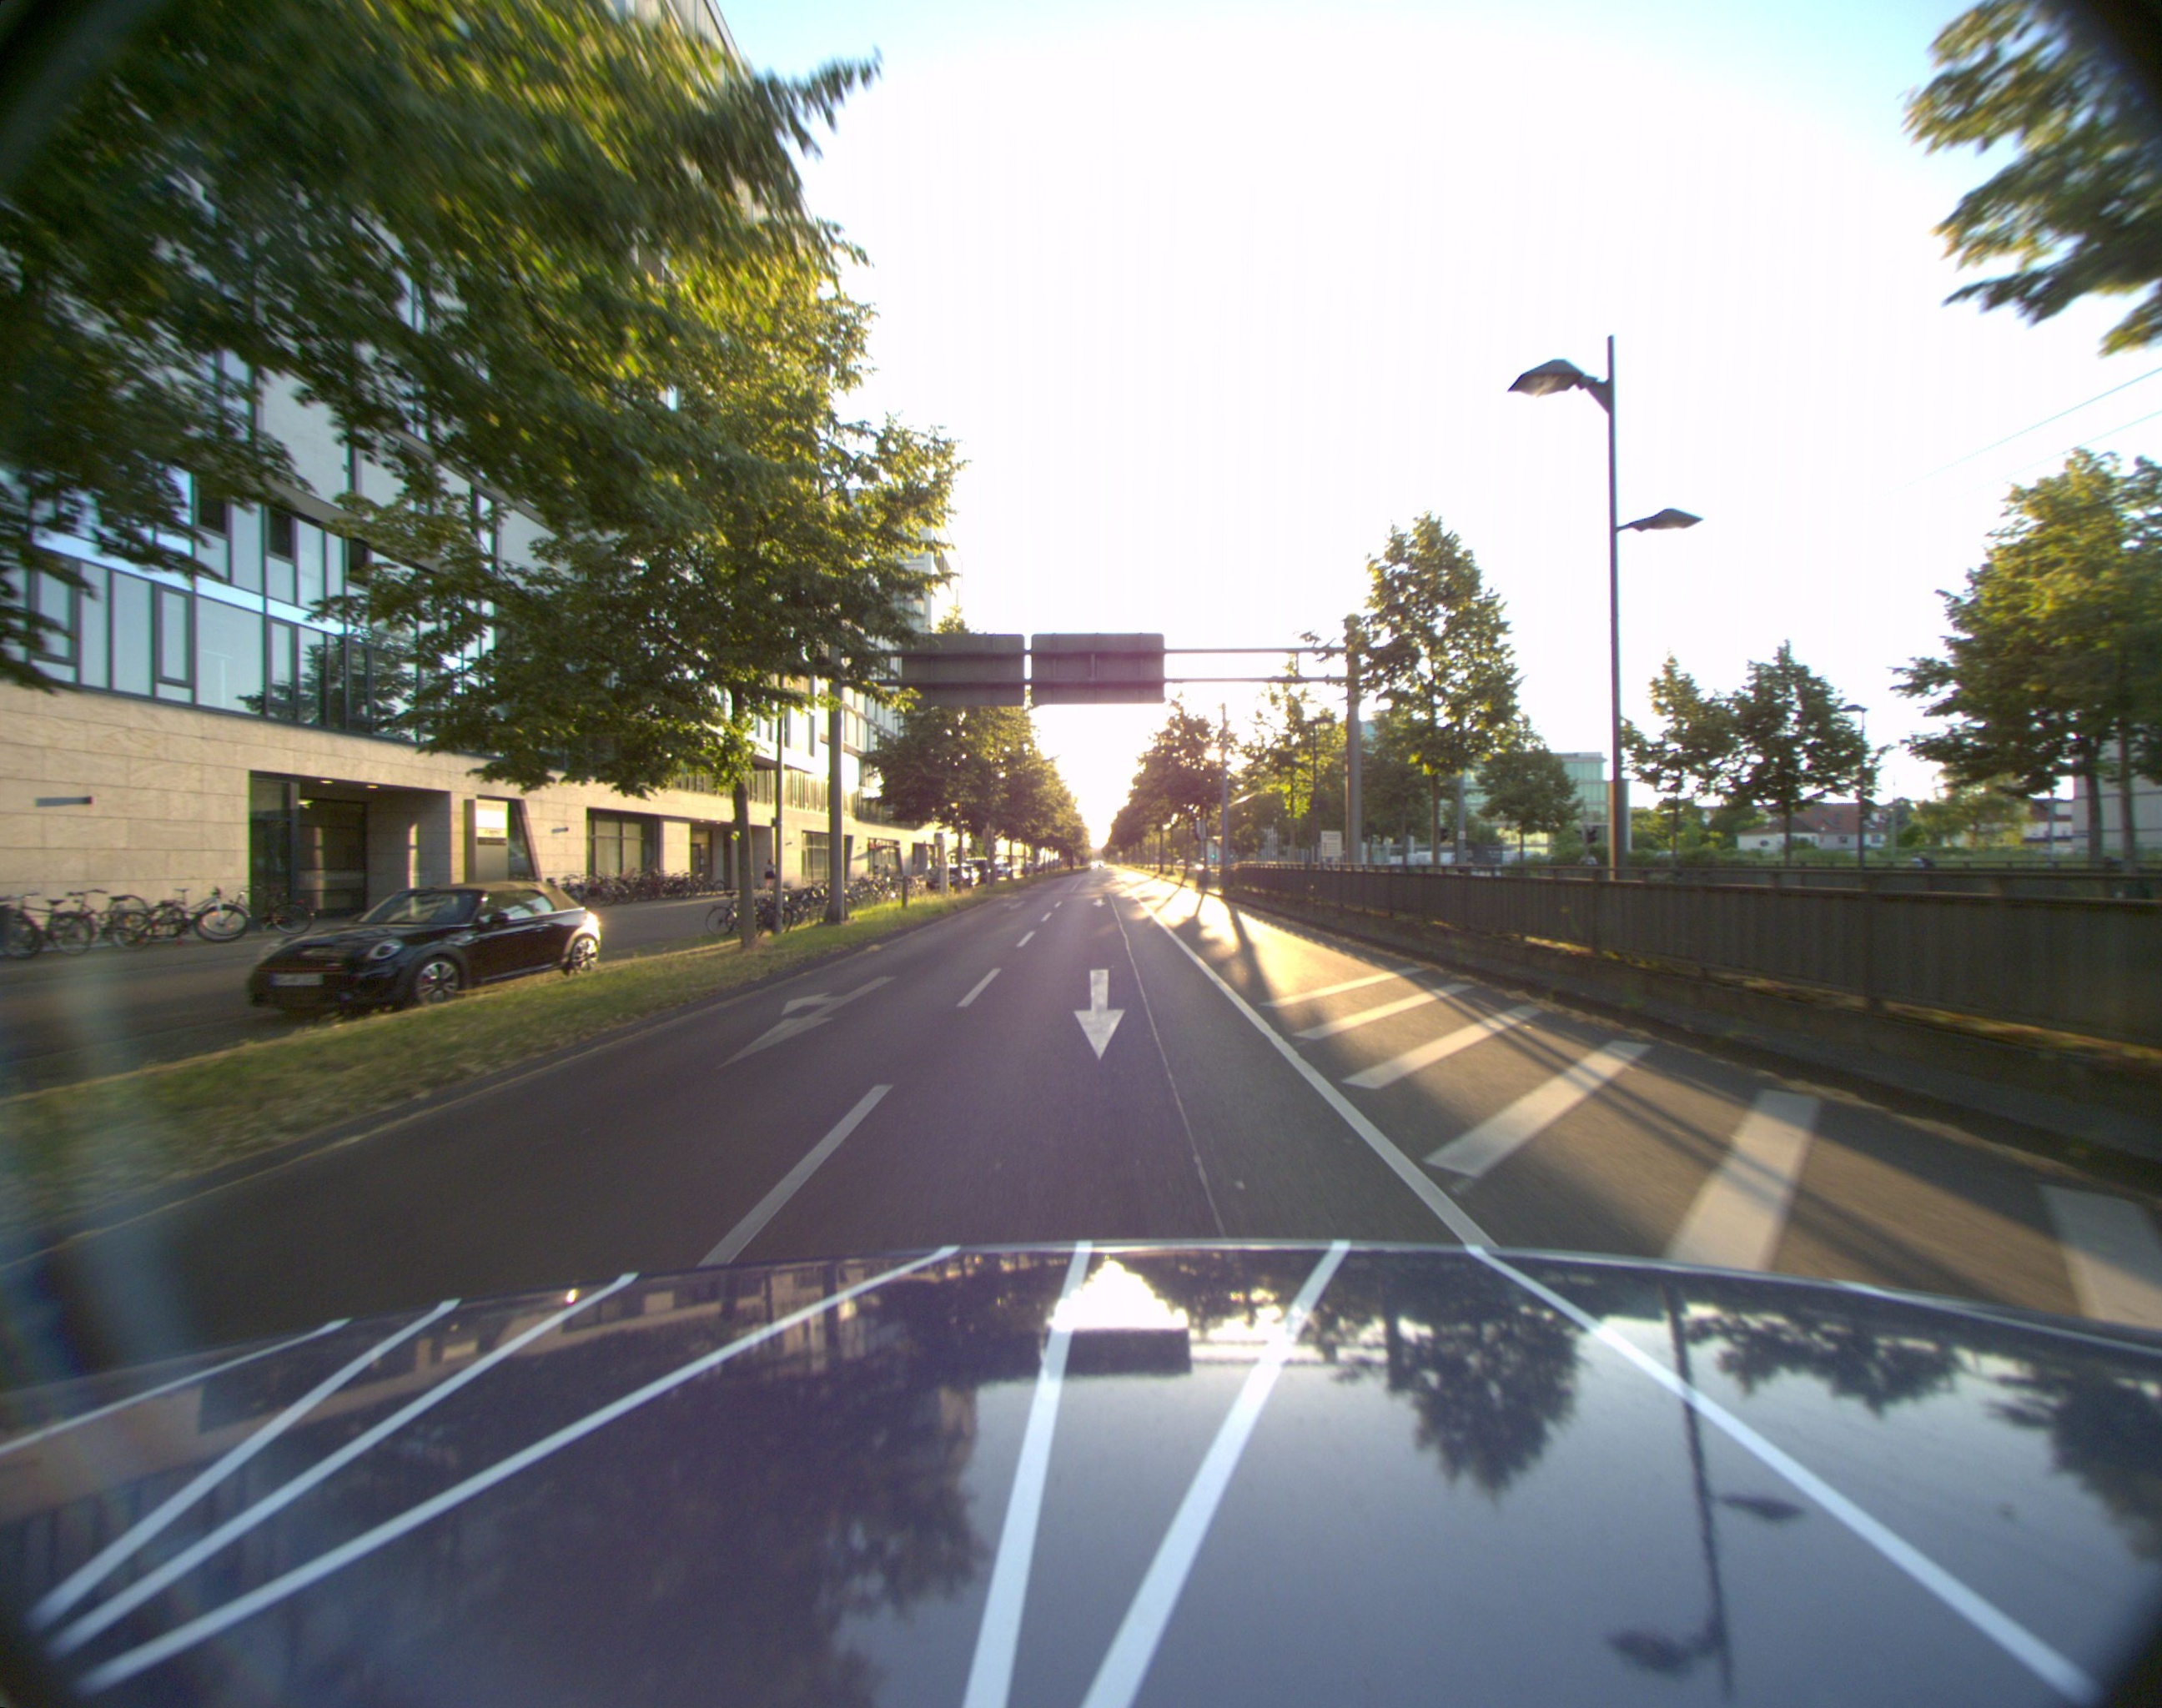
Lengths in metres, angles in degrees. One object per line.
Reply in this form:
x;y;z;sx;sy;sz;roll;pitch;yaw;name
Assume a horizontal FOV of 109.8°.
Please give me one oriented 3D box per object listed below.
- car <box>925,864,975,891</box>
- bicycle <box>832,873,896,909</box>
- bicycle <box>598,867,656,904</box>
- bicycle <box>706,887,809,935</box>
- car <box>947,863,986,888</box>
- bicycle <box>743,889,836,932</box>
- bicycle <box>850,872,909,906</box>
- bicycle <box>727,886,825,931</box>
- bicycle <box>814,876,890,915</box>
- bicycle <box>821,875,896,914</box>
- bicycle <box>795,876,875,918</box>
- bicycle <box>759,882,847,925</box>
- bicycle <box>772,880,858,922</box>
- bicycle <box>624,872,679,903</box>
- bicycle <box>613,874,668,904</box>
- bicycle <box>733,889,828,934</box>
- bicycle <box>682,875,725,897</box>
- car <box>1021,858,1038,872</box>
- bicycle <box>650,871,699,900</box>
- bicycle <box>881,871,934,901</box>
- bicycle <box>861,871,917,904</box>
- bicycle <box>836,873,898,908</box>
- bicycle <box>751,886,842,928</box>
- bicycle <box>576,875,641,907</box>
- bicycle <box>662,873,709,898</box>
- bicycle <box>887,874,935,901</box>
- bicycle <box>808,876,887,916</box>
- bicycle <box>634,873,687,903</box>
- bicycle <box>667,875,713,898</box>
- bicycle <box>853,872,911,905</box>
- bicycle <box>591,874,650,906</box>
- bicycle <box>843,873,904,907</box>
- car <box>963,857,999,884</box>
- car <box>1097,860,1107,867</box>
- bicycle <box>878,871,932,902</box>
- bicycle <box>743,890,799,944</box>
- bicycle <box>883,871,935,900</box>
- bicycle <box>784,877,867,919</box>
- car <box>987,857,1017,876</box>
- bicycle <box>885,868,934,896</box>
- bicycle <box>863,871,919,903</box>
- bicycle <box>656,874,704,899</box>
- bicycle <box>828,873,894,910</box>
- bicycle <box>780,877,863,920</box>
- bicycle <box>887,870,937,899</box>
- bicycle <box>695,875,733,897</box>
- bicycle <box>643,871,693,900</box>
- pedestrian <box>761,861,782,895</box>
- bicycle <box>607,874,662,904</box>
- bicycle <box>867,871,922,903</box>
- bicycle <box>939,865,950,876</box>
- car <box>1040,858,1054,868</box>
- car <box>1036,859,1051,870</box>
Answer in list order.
-7.322;1.303;42.943;1.873;1.403;4.647;0;0;2;car
-7.250;1.242;25.408;1.947;1.047;0.404;-4;0;-5;bicycle
-17.086;1.196;28.620;1.835;1.349;0.503;-1;0;-2;bicycle
-7.734;1.358;18.229;2.148;0.934;0.545;-4;0;-5;bicycle
-7.338;1.343;49.047;1.814;1.463;4.665;-1;0;-1;car
-7.532;1.461;19.701;2.148;0.934;0.452;-4;0;-3;bicycle
-7.250;1.258;27.359;1.947;1.047;0.414;-4;0;-6;bicycle
-7.512;1.334;18.748;2.148;0.934;0.443;-4;0;-5;bicycle
-7.163;1.289;23.832;2.148;1.047;0.562;-4;0;-5;bicycle
-7.145;1.299;24.457;2.148;1.047;0.571;-4;0;-5;bicycle
-7.306;1.273;22.647;2.149;1.047;0.525;-4;0;-6;bicycle
-7.537;1.334;20.676;2.149;0.967;0.443;-4;0;-6;bicycle
-7.407;1.307;21.188;2.148;0.981;0.443;-4;0;-5;bicycle
-17.078;1.329;30.230;1.835;1.170;0.503;-1;0;-2;bicycle
-17.166;1.353;29.612;1.835;1.106;0.503;-1;0;-2;bicycle
-7.585;1.444;19.238;2.148;0.934;0.443;-4;0;-5;bicycle
-16.940;1.434;34.109;1.748;0.947;0.404;-1;0;2;bicycle
-6.090;1.306;90.679;1.714;1.506;3.759;-3;0;0;car
-17.072;1.316;31.898;1.835;1.170;0.446;-1;0;2;bicycle
-6.897;1.260;30.269;1.947;1.047;0.545;-4;0;-6;bicycle
-7.190;1.251;28.461;1.947;1.047;0.347;-4;0;-6;bicycle
-7.291;1.247;25.905;1.947;1.047;0.404;-4;0;-2;bicycle
-7.527;1.404;20.171;2.149;0.934;0.443;-4;0;-7;bicycle
-17.030;1.320;27.382;1.987;1.093;0.503;-1;0;-2;bicycle
-17.107;1.383;32.900;1.835;1.051;0.404;-1;0;2;bicycle
-7.558;1.477;33.896;1.946;1.047;0.545;-4;0;1;bicycle
-7.126;1.277;23.240;2.148;1.047;0.571;-4;0;-5;bicycle
-17.050;1.361;30.808;1.835;1.170;0.503;-1;0;-2;bicycle
-17.123;1.435;33.274;1.835;0.981;0.404;-1;0;2;bicycle
-7.320;1.255;28.012;1.947;1.047;0.414;-4;0;-6;bicycle
-16.987;1.321;28.067;1.835;1.115;0.503;-1;0;-2;bicycle
-7.260;1.258;26.634;1.947;1.047;0.414;-4;0;-6;bicycle
-7.230;1.162;55.249;1.999;1.841;4.665;-1;0;-1;car
4.294;1.994;157.326;1.998;1.473;4.336;-1;-1;1;car
-6.890;1.255;29.741;1.947;1.047;0.408;-4;0;-6;bicycle
-6.350;1.263;15.650;0.319;0.974;1.847;-1;0;3;bicycle
-7.025;1.279;31.060;1.948;1.047;0.545;-4;0;-9;bicycle
-7.395;1.266;22.066;2.148;1.047;0.525;-4;0;-5;bicycle
-6.970;1.074;67.619;1.998;1.633;4.879;-1;0;2;car
-7.309;1.199;32.431;1.948;1.047;0.544;-4;0;-13;bicycle
-7.203;1.251;28.861;1.947;1.047;0.314;-4;0;-6;bicycle
-17.095;1.379;32.413;1.835;1.041;0.446;-1;0;2;bicycle
-7.217;1.236;24.975;1.947;1.047;0.404;-4;0;-5;bicycle
-7.374;1.261;21.617;2.148;1.047;0.300;-4;0;-5;bicycle
-7.073;1.277;31.743;1.948;1.047;0.544;-4;0;-13;bicycle
-17.158;1.496;35.538;1.579;0.981;0.404;-1;0;2;bicycle
-17.044;1.306;31.389;1.835;1.170;0.446;-1;0;2;bicycle
-15.423;1.199;37.919;0.644;1.638;0.953;-1;0;1;pedestrian
-17.098;1.326;29.123;1.835;1.118;0.372;-1;0;-2;bicycle
-7.163;1.260;29.273;1.947;1.047;0.408;-4;0;-6;bicycle
-13.494;1.616;75.174;0.596;1.033;1.893;0;0;2;bicycle
-5.444;1.486;121.806;1.785;1.485;4.001;-4;-1;1;car
-5.017;1.419;102.831;1.857;1.359;4.834;-1;-1;-1;car
